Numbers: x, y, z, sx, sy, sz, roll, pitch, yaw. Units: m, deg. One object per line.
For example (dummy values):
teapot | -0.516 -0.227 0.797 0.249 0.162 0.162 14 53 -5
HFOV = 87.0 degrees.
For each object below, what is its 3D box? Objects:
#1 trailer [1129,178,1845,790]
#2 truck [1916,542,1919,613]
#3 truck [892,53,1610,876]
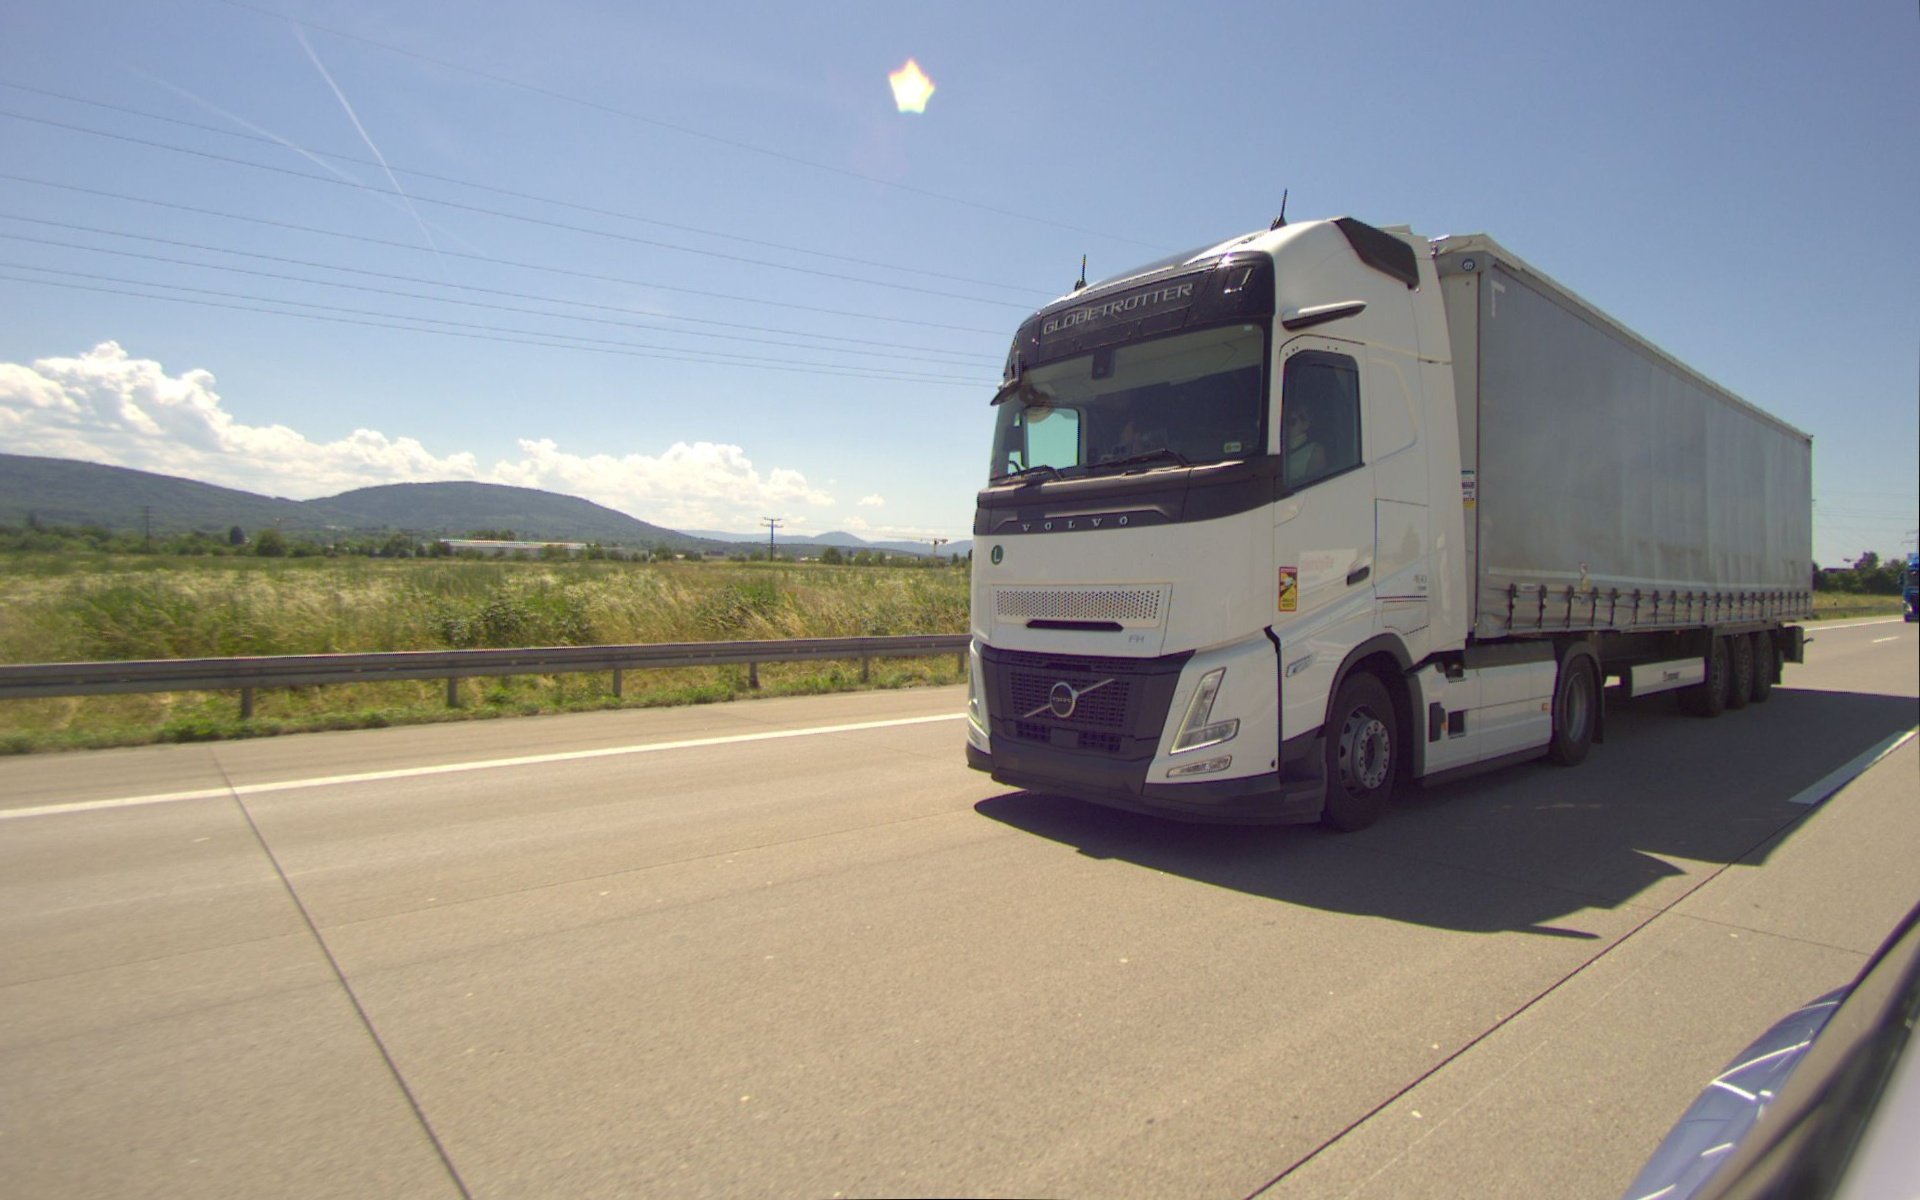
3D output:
trailer | 7.755 -0.827 12.555 13.959 4.112 3.023 0 0 -41
truck | 58.473 -1.307 59.484 5.369 4.095 2.755 0 0 -40
truck | 2.505 -0.702 7.963 5.382 4.114 2.989 0 0 -41
